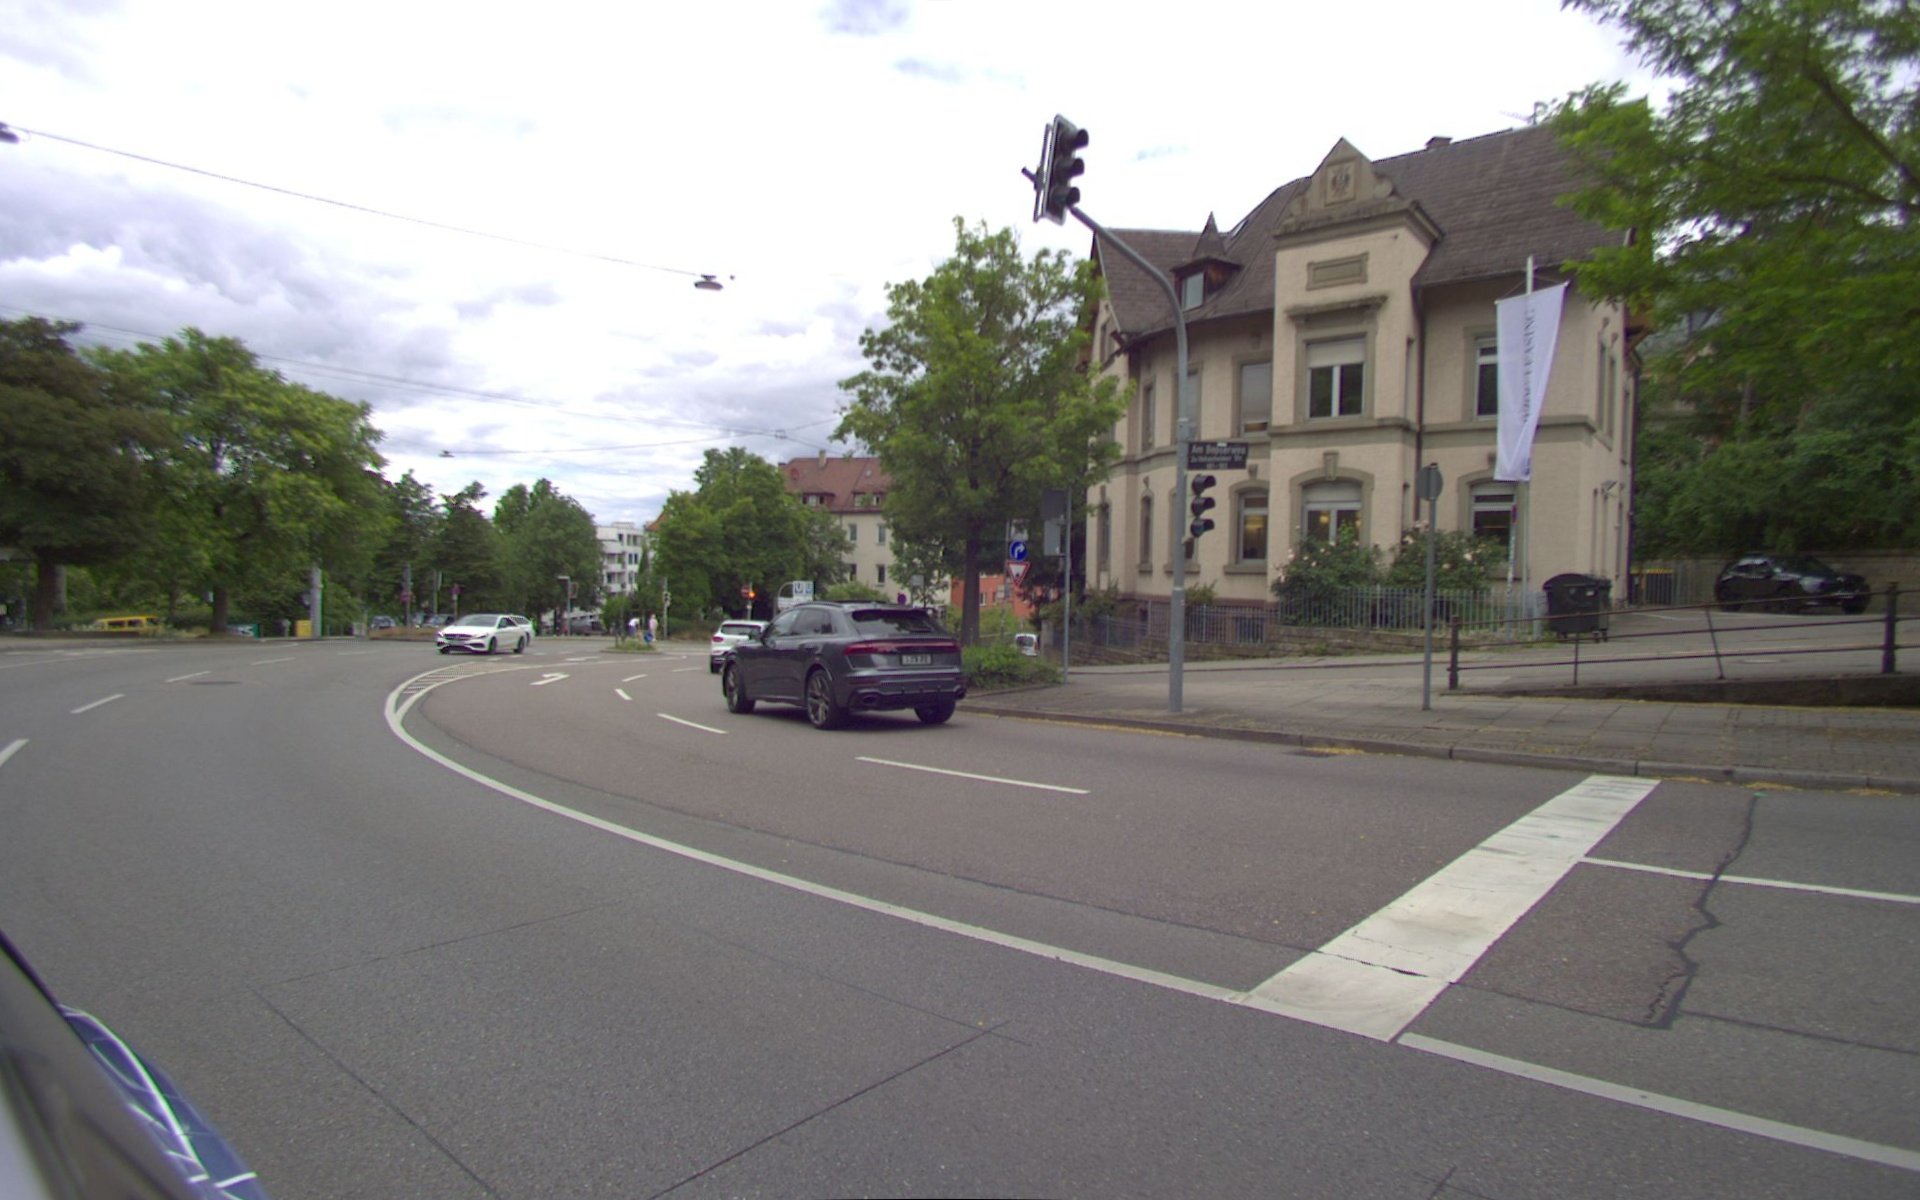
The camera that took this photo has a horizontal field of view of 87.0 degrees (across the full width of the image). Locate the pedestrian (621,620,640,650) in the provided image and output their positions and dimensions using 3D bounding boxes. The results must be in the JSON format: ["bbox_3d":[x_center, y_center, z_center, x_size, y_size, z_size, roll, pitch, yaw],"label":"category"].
[{"bbox_3d":[-19.676,2.099,60.490,0.615,1.725,0.719,4,-1,32],"label":"pedestrian"}]

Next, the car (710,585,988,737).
[{"bbox_3d":[-1.779,0.805,14.556,1.870,1.805,4.770,2,-2,-35],"label":"car"}]

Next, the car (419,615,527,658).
[{"bbox_3d":[-17.323,1.294,36.244,1.971,1.409,4.232,2,-1,-3],"label":"car"}]

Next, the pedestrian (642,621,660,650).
[{"bbox_3d":[-18.861,2.166,61.831,0.615,1.725,0.719,4,-1,32],"label":"pedestrian"}]

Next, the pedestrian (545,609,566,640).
[{"bbox_3d":[-25.085,1.548,62.765,0.844,1.901,0.966,3,-3,-43],"label":"pedestrian"}]

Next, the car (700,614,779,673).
[{"bbox_3d":[-6.640,1.307,30.884,1.872,1.667,4.381,1,-2,-6],"label":"car"}]

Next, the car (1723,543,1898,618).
[{"bbox_3d":[23.721,-0.481,28.450,1.978,1.852,3.987,1,-2,10],"label":"car"}]

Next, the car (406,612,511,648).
[{"bbox_3d":[-21.924,1.312,44.410,1.883,1.475,3.974,-1,-2,19],"label":"car"}]

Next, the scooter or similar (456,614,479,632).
[{"bbox_3d":[-33.654,1.570,69.210,1.299,1.257,0.465,3,-3,-40],"label":"scooter or similar"}]

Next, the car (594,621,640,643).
[{"bbox_3d":[-33.660,3.127,99.324,3.737,2.029,1.998,1,-2,3],"label":"car"}]

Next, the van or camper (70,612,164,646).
[{"bbox_3d":[-54.580,1.859,65.585,4.403,1.992,1.892,2,0,-4],"label":"van or camper"}]

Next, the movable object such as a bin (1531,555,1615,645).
[{"bbox_3d":[12.470,-0.011,20.589,1.199,1.696,0.999,-6,2,-35],"label":"movable object such as a bin"}]
